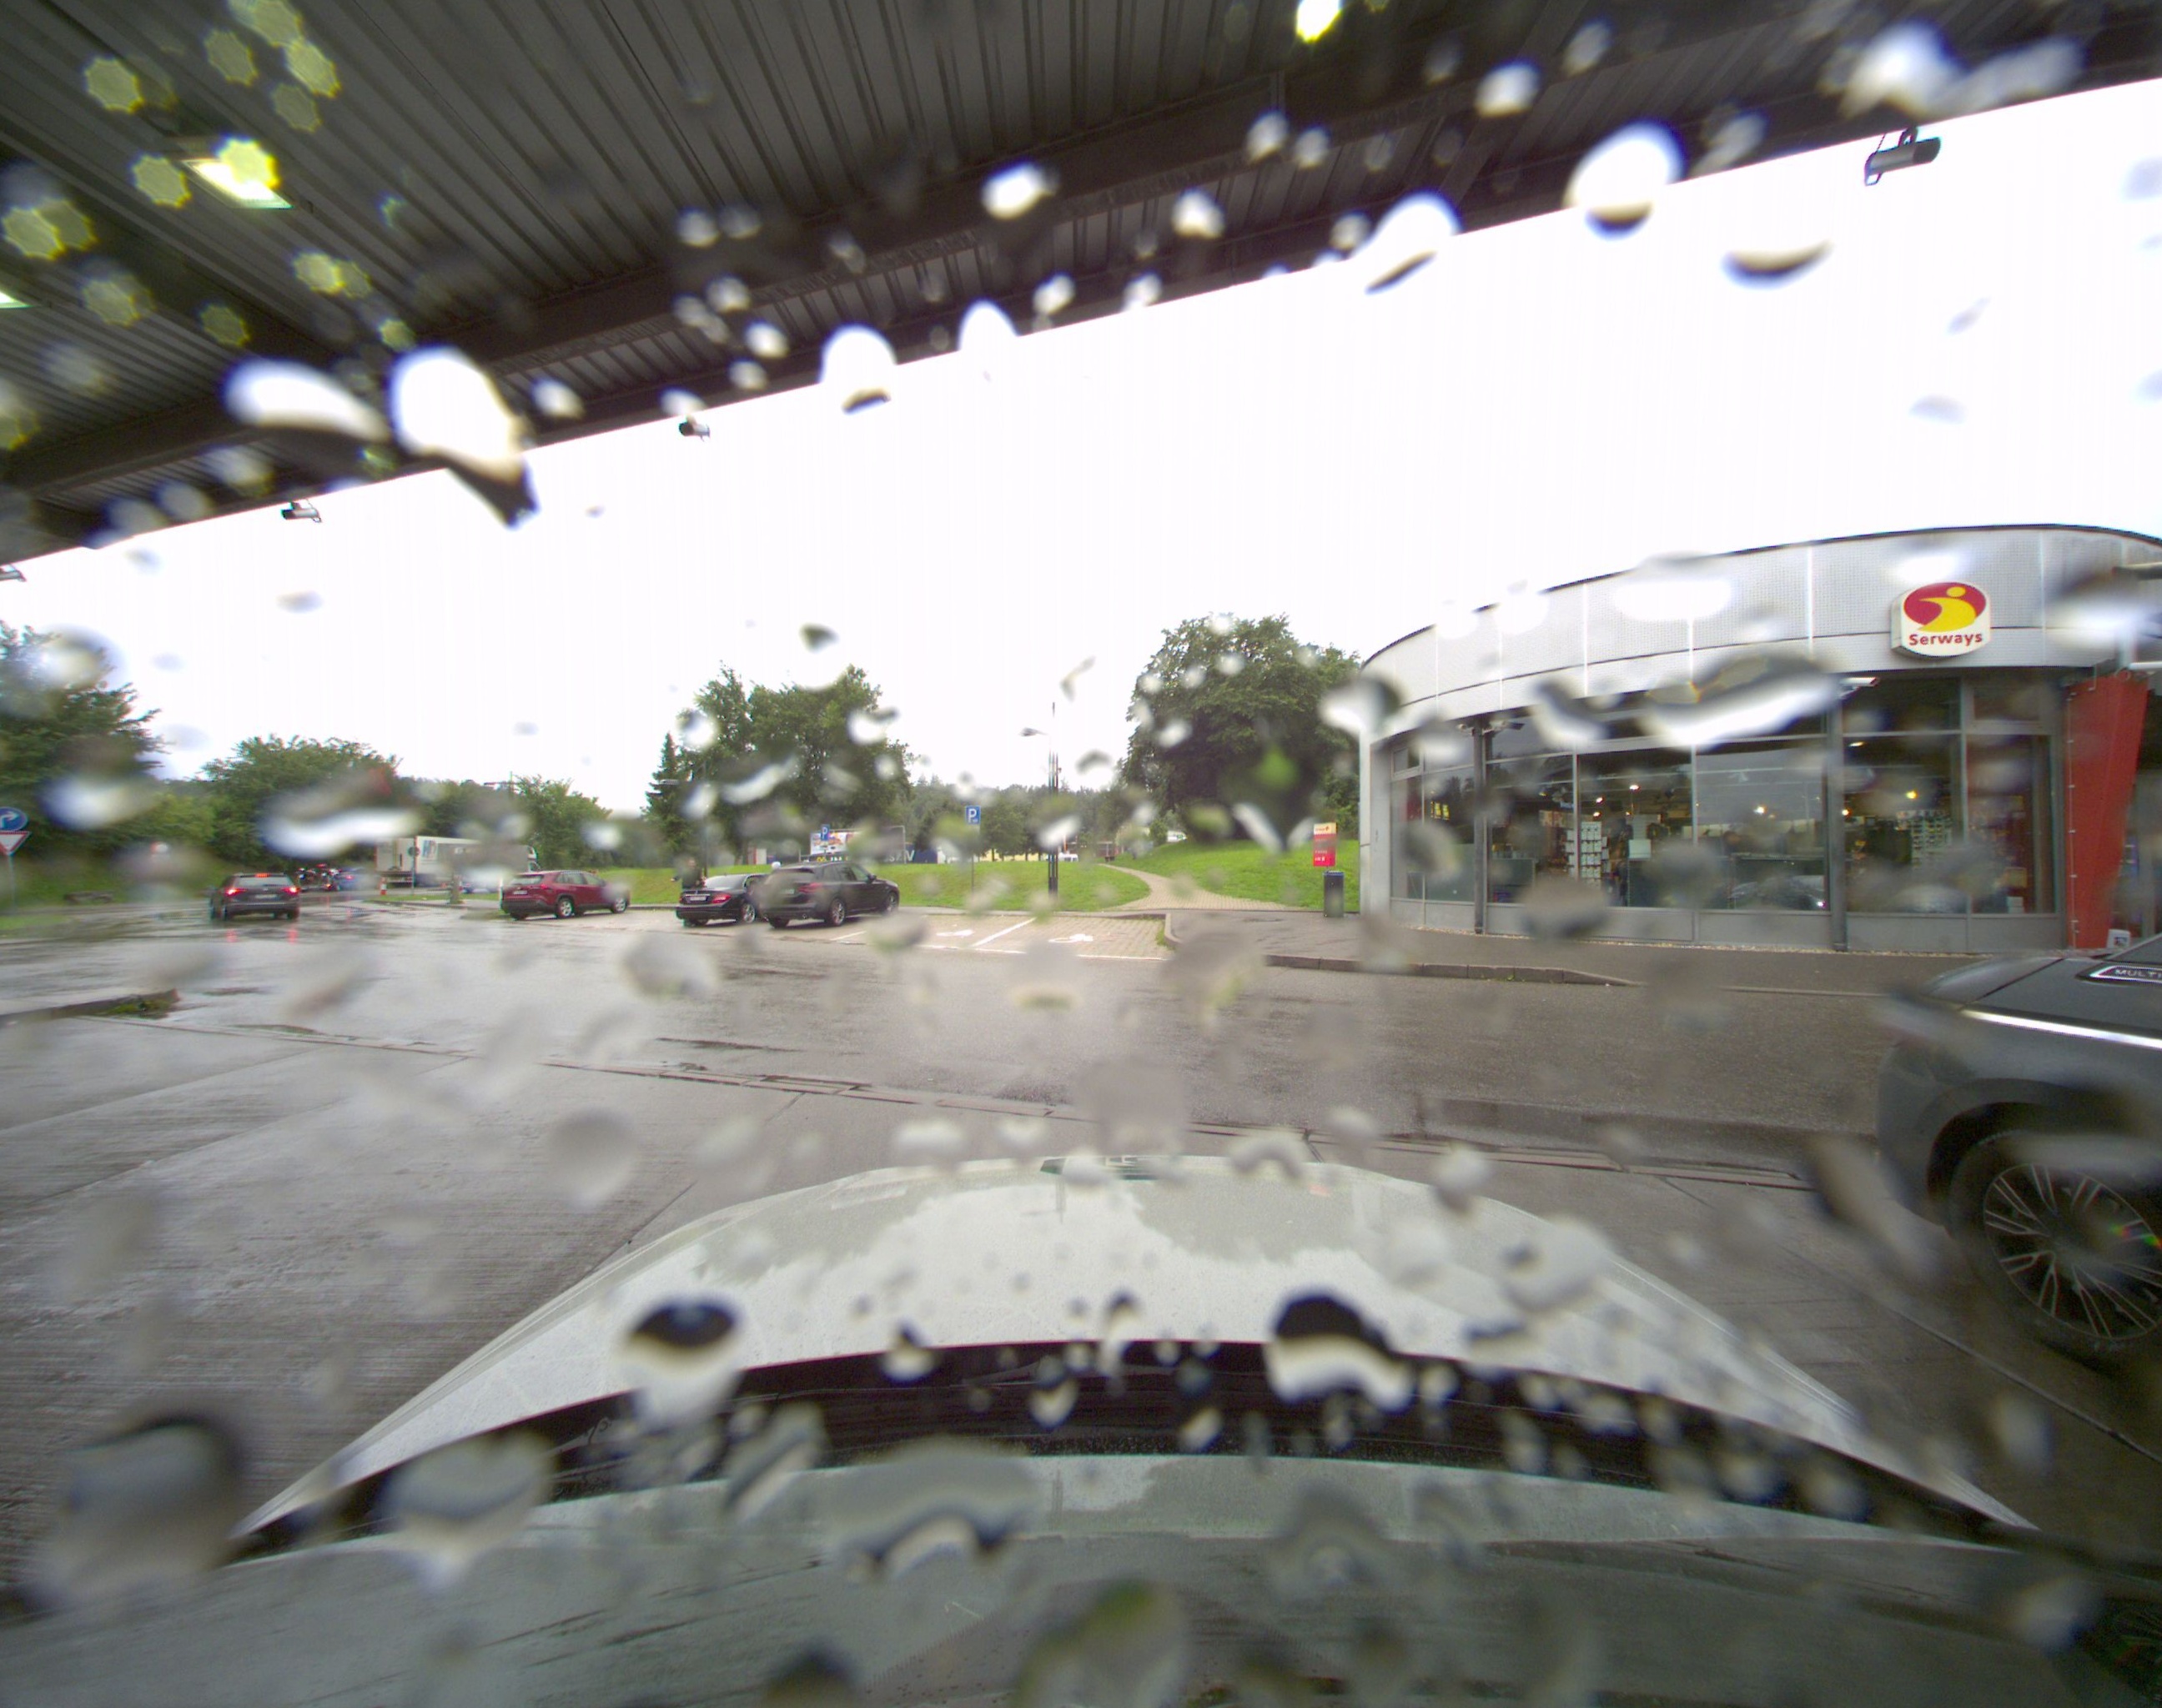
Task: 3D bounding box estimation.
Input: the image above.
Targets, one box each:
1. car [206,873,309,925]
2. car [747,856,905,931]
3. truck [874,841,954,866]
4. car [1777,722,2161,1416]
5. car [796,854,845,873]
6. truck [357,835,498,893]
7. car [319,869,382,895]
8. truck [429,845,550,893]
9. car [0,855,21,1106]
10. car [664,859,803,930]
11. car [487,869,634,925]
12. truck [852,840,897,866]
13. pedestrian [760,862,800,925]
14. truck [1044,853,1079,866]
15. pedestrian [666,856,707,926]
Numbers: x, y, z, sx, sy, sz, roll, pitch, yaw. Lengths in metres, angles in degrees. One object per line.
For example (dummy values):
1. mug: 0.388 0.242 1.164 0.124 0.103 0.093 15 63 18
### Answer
1. car: -29.136 1.557 28.797 3.948 1.678 2.013 -2 -1 37
2. car: -6.644 0.968 21.818 2.002 1.711 4.360 -2 0 14
3. truck: -20.739 -0.061 102.386 2.165 2.920 13.175 -1 -1 26
4. car: 3.677 0.540 0.714 1.854 1.798 5.142 0 -1 2
5. car: -24.730 0.916 77.378 4.153 1.783 1.825 0 -1 -34
6. truck: -55.434 0.836 70.020 3.550 4.340 16.899 0 -1 -18
7. car: -50.335 1.876 56.216 1.814 1.681 3.927 0 -1 -18
8. truck: -40.649 0.989 56.308 2.465 3.085 7.367 0 -1 5
9. car: -7.965 0.800 2.714 1.854 1.608 5.273 0 -1 2
10. car: -9.830 1.078 23.462 2.010 1.711 4.344 -2 0 1
11. car: -18.131 1.438 28.631 1.928 1.644 4.352 -2 0 7
12. truck: -24.172 -0.092 95.495 2.165 2.920 5.419 -1 -1 27
13. pedestrian: -8.017 1.031 21.676 0.955 1.631 0.698 0 -1 -23
14. truck: -3.230 0.870 134.143 5.356 2.014 2.381 -1 -1 26
15. pedestrian: -10.914 1.010 22.517 0.882 1.887 0.708 -1 -1 37
